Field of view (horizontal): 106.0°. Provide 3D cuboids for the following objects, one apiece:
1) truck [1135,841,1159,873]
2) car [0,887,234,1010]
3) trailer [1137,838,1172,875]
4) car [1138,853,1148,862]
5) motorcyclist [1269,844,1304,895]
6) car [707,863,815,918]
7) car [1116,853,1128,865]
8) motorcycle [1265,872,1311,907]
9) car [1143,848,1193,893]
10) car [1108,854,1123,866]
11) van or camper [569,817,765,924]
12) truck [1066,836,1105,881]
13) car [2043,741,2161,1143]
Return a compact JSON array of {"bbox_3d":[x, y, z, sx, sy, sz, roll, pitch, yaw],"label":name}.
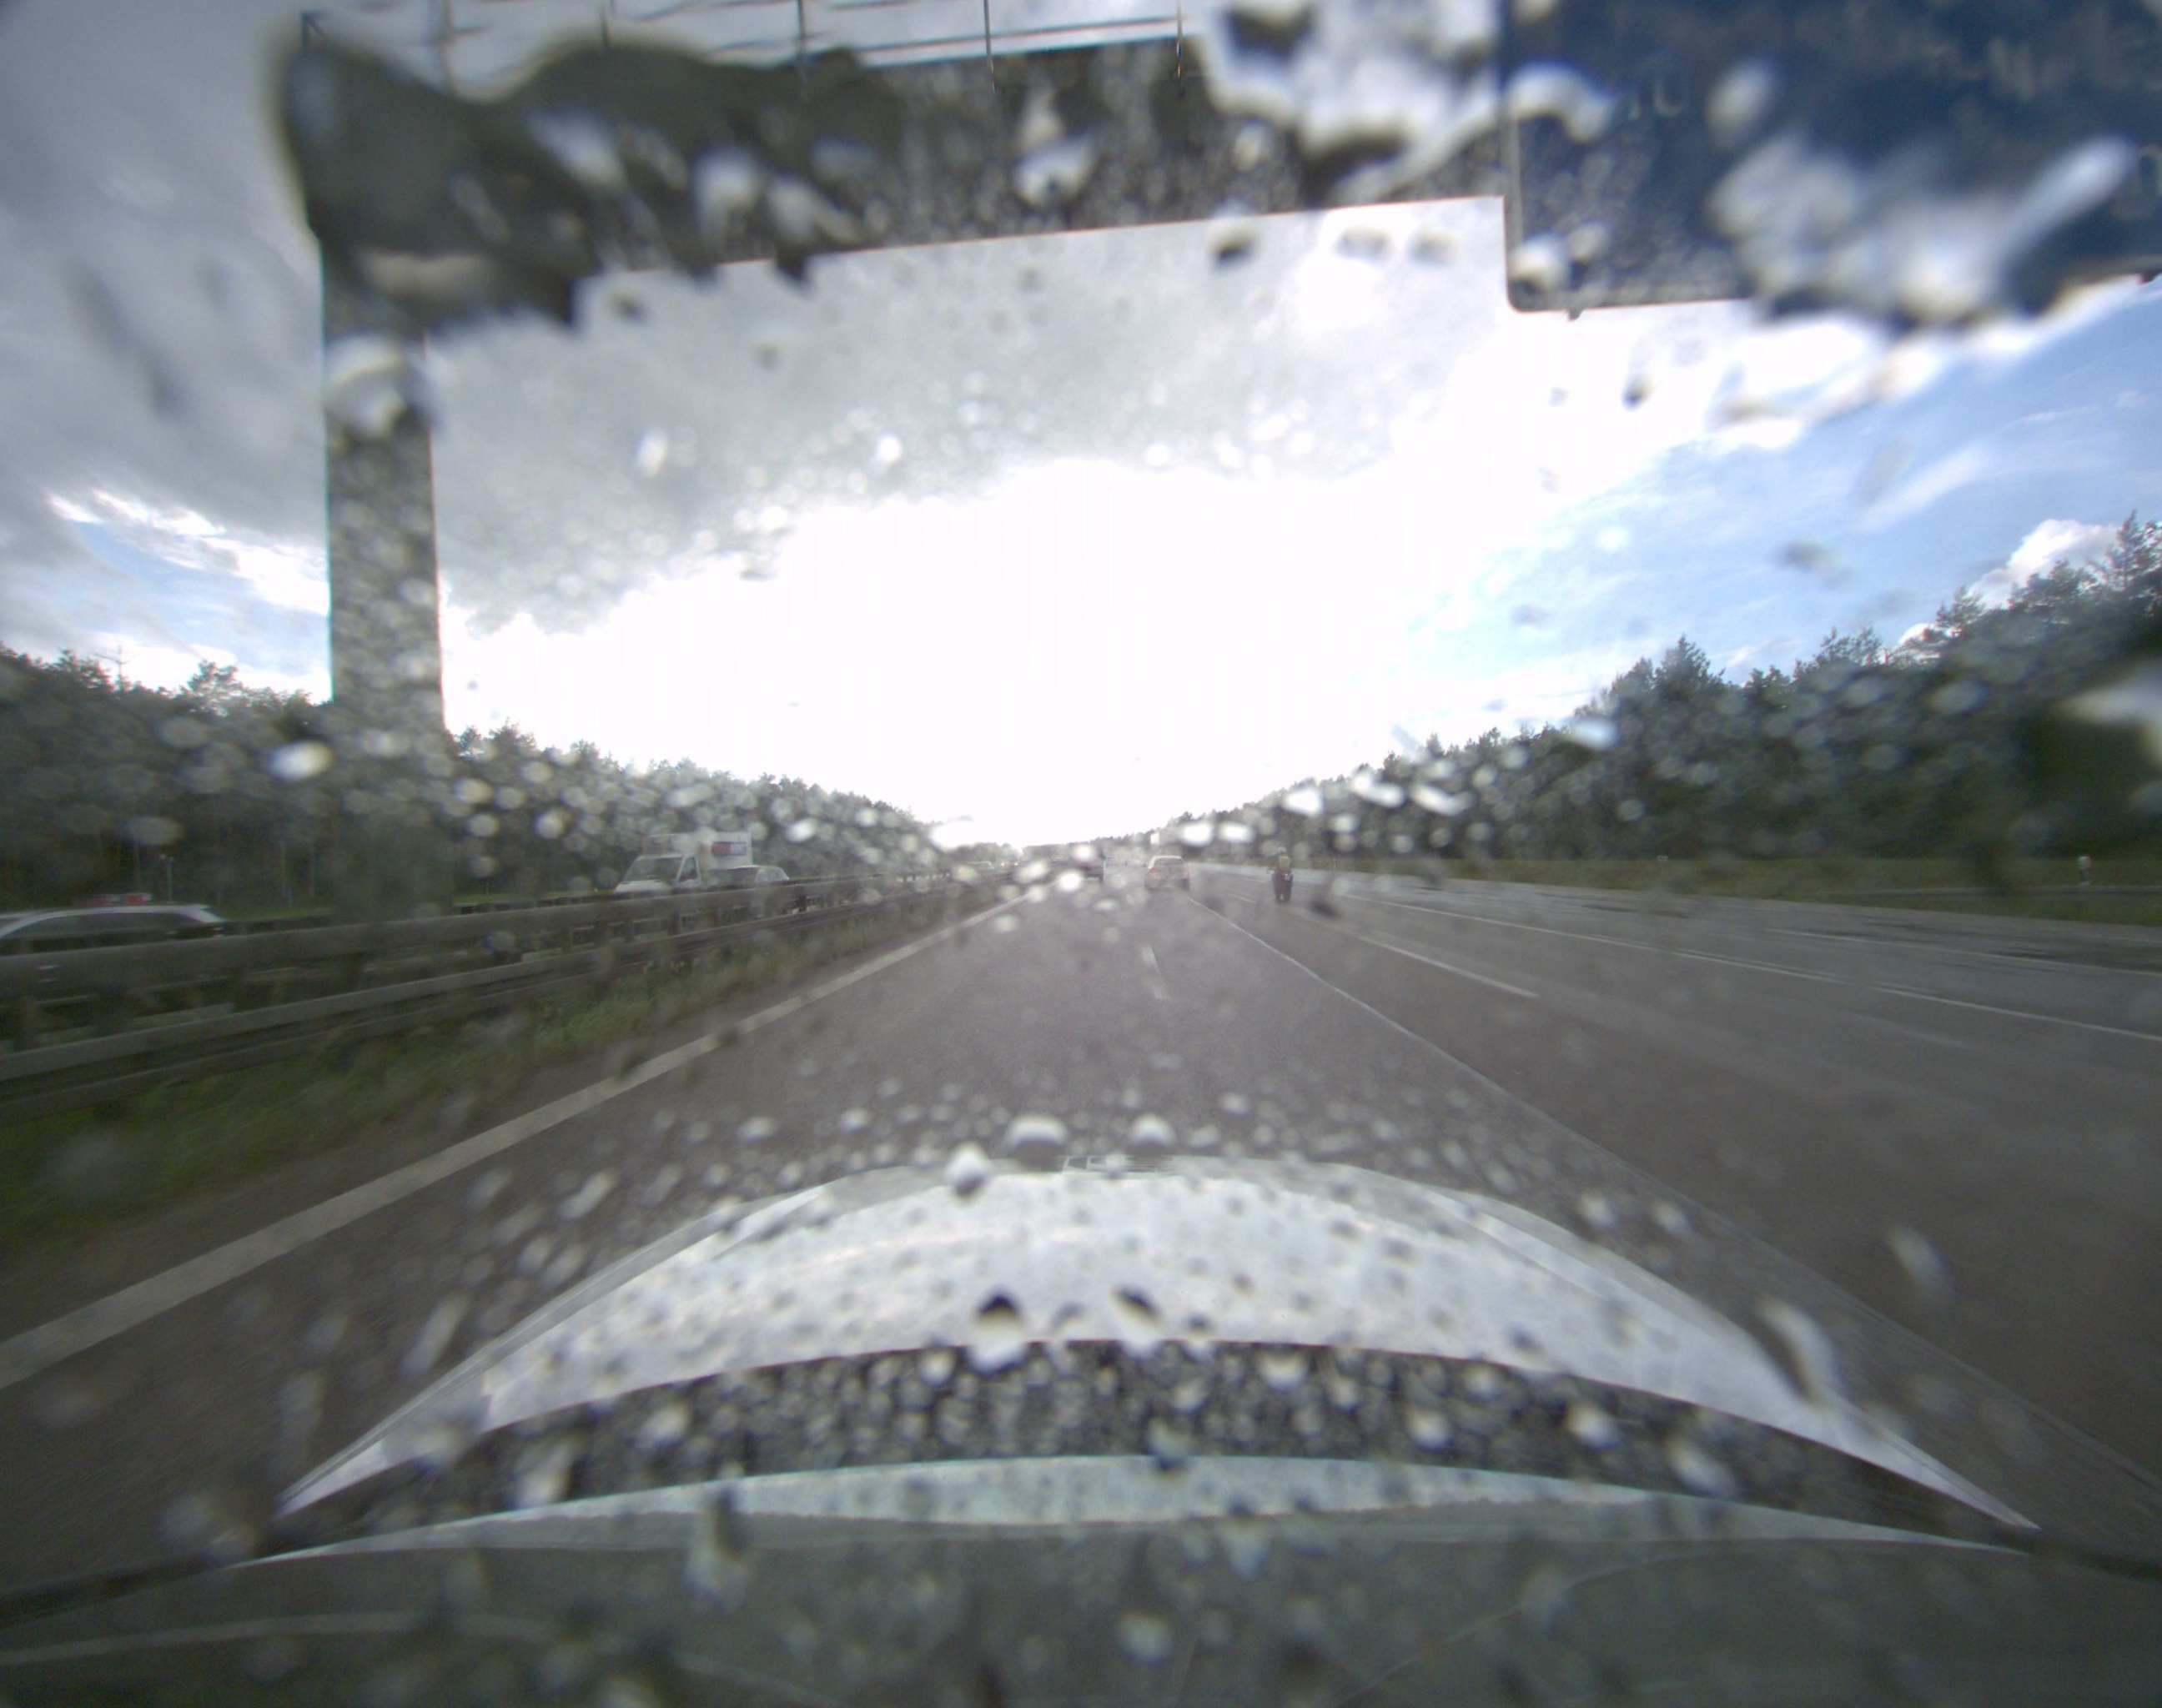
[{"bbox_3d":[8.201,0.404,101.900,2.288,3.868,5.387,-1,-1,-2],"label":"truck"},{"bbox_3d":[-13.745,1.219,10.565,1.489,1.376,3.706,-2,0,3],"label":"car"},{"bbox_3d":[8.429,0.298,94.883,2.318,4.001,13.400,-1,0,-2],"label":"trailer"},{"bbox_3d":[14.732,0.888,193.472,1.986,2.014,4.001,0,0,1],"label":"car"},{"bbox_3d":[6.645,0.485,26.322,0.888,1.614,0.959,-1,-1,2],"label":"motorcyclist"},{"bbox_3d":[-9.988,1.073,25.755,1.688,1.515,4.001,-2,0,1],"label":"car"},{"bbox_3d":[7.040,0.812,138.504,1.901,2.013,4.001,-1,0,1],"label":"car"},{"bbox_3d":[6.659,1.122,26.304,0.996,1.031,2.175,-1,0,2],"label":"motorcycle"},{"bbox_3d":[3.856,0.688,36.653,2.068,1.885,5.018,-1,0,5],"label":"car"},{"bbox_3d":[4.529,0.802,106.956,1.824,1.466,4.002,-1,0,2],"label":"car"},{"bbox_3d":[-13.773,0.487,27.953,2.291,3.112,7.551,-2,0,4],"label":"van or camper"},{"bbox_3d":[0.270,0.254,48.656,2.130,2.489,5.312,-1,0,0],"label":"truck"},{"bbox_3d":[5.991,0.395,1.847,1.956,1.902,4.884,-1,0,2],"label":"car"}]
